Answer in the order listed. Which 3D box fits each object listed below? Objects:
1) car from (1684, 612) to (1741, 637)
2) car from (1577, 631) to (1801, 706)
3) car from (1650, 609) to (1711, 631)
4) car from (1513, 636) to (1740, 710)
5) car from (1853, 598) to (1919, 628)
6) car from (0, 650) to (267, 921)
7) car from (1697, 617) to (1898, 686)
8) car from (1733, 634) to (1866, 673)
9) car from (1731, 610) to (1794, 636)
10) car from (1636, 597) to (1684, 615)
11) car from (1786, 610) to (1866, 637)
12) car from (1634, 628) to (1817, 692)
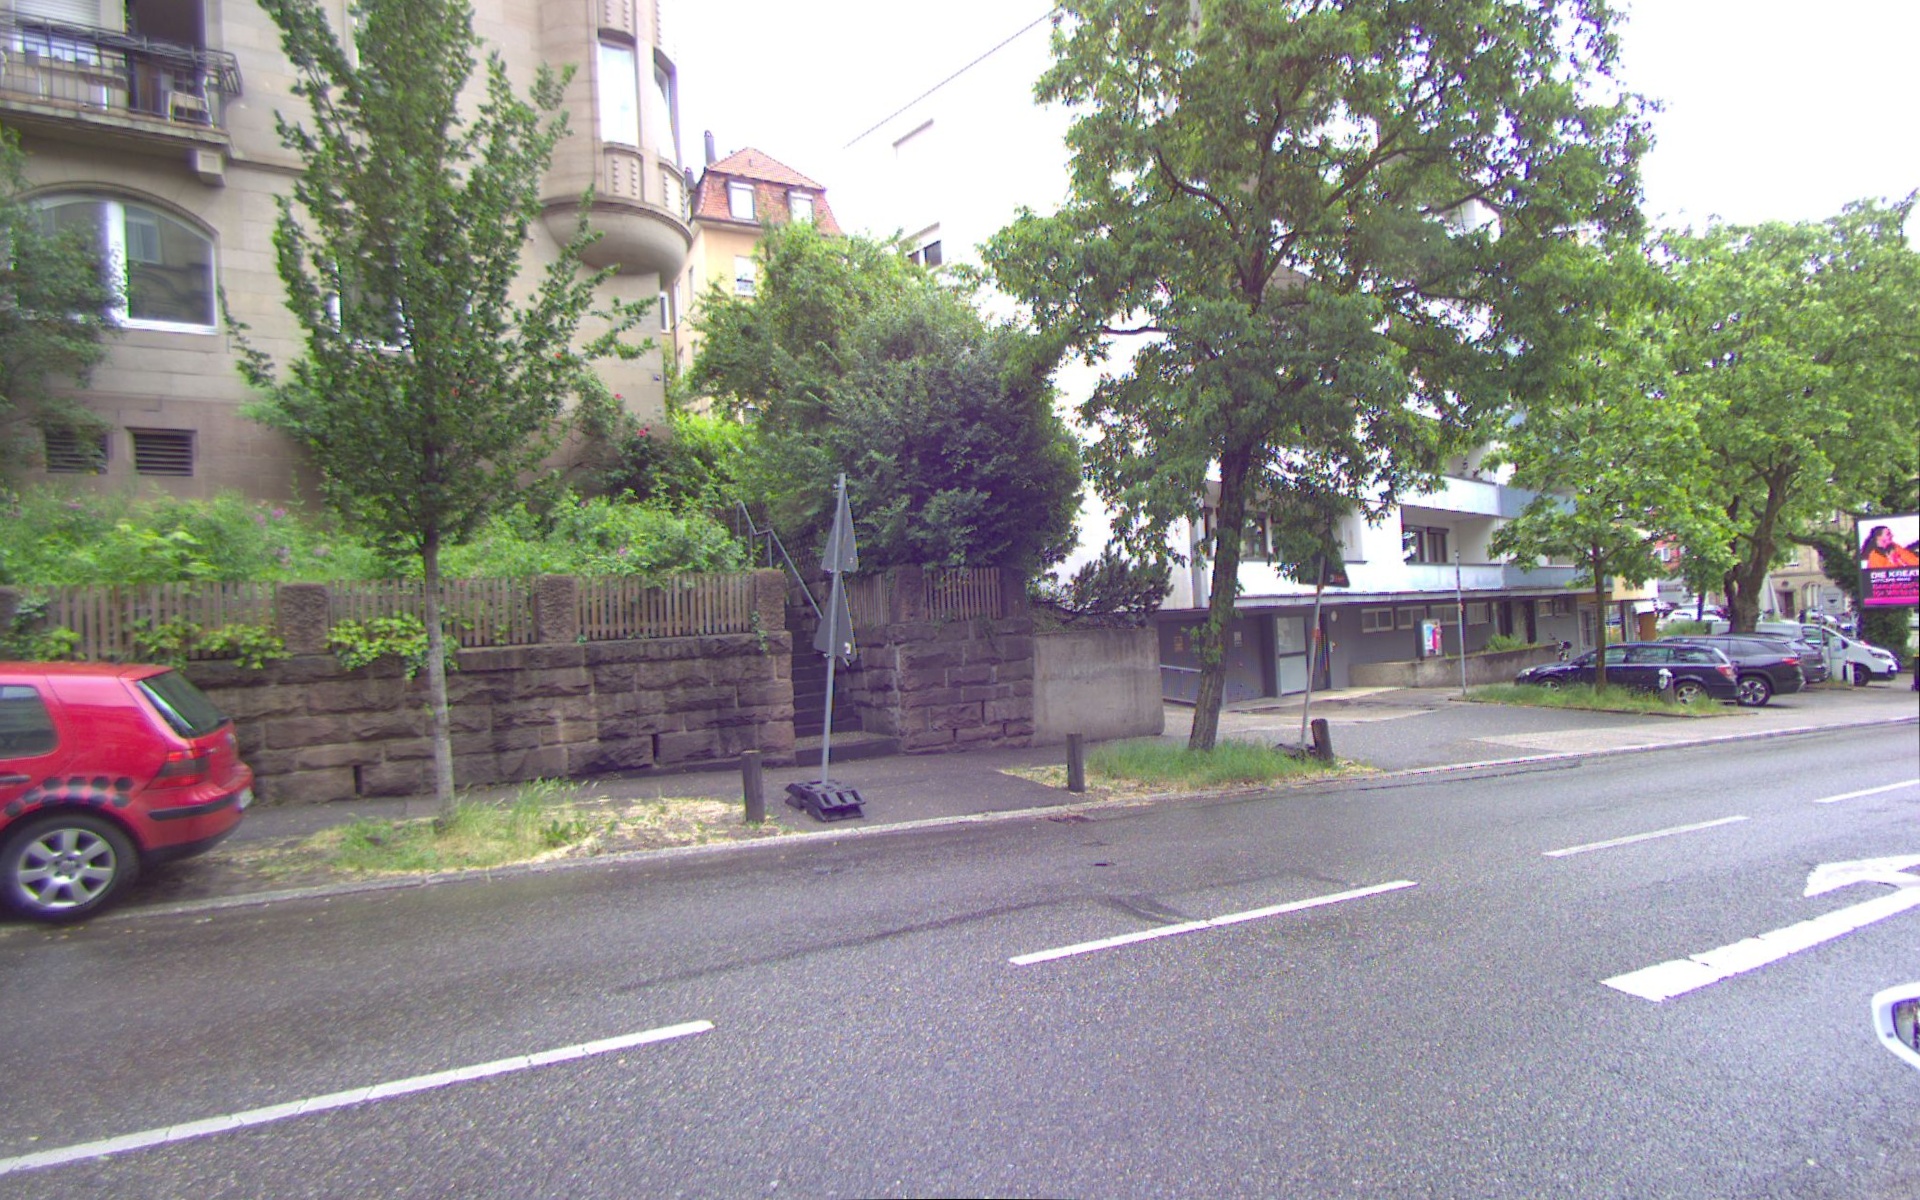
[{"bbox_3d":[69.036,2.256,92.239,1.961,2.130,4.291,-1,1,-1],"label":"car"},{"bbox_3d":[18.017,1.692,24.993,4.312,1.694,1.848,-3,-4,38],"label":"car"},{"bbox_3d":[60.362,1.668,84.263,1.961,1.749,4.249,-2,-1,-1],"label":"car"},{"bbox_3d":[15.684,1.694,23.753,4.303,1.594,1.935,-3,-4,38],"label":"car"},{"bbox_3d":[69.447,0.955,74.818,1.961,2.130,4.291,-1,1,-1],"label":"car"},{"bbox_3d":[-6.563,1.057,5.825,4.015,1.470,1.606,1,-2,-30],"label":"car"},{"bbox_3d":[27.715,1.677,33.462,5.000,2.132,1.983,-2,-3,40],"label":"car"},{"bbox_3d":[32.840,2.080,39.411,3.925,1.469,1.761,-2,-3,40],"label":"car"},{"bbox_3d":[69.096,1.968,86.596,1.961,2.130,4.291,-1,1,-1],"label":"car"},{"bbox_3d":[68.766,0.552,98.736,1.694,1.711,3.999,2,0,-2],"label":"car"},{"bbox_3d":[60.465,1.604,70.231,1.960,1.749,4.250,-1,0,1],"label":"car"},{"bbox_3d":[23.213,1.790,30.567,4.305,1.807,1.931,-2,-3,40],"label":"car"}]
